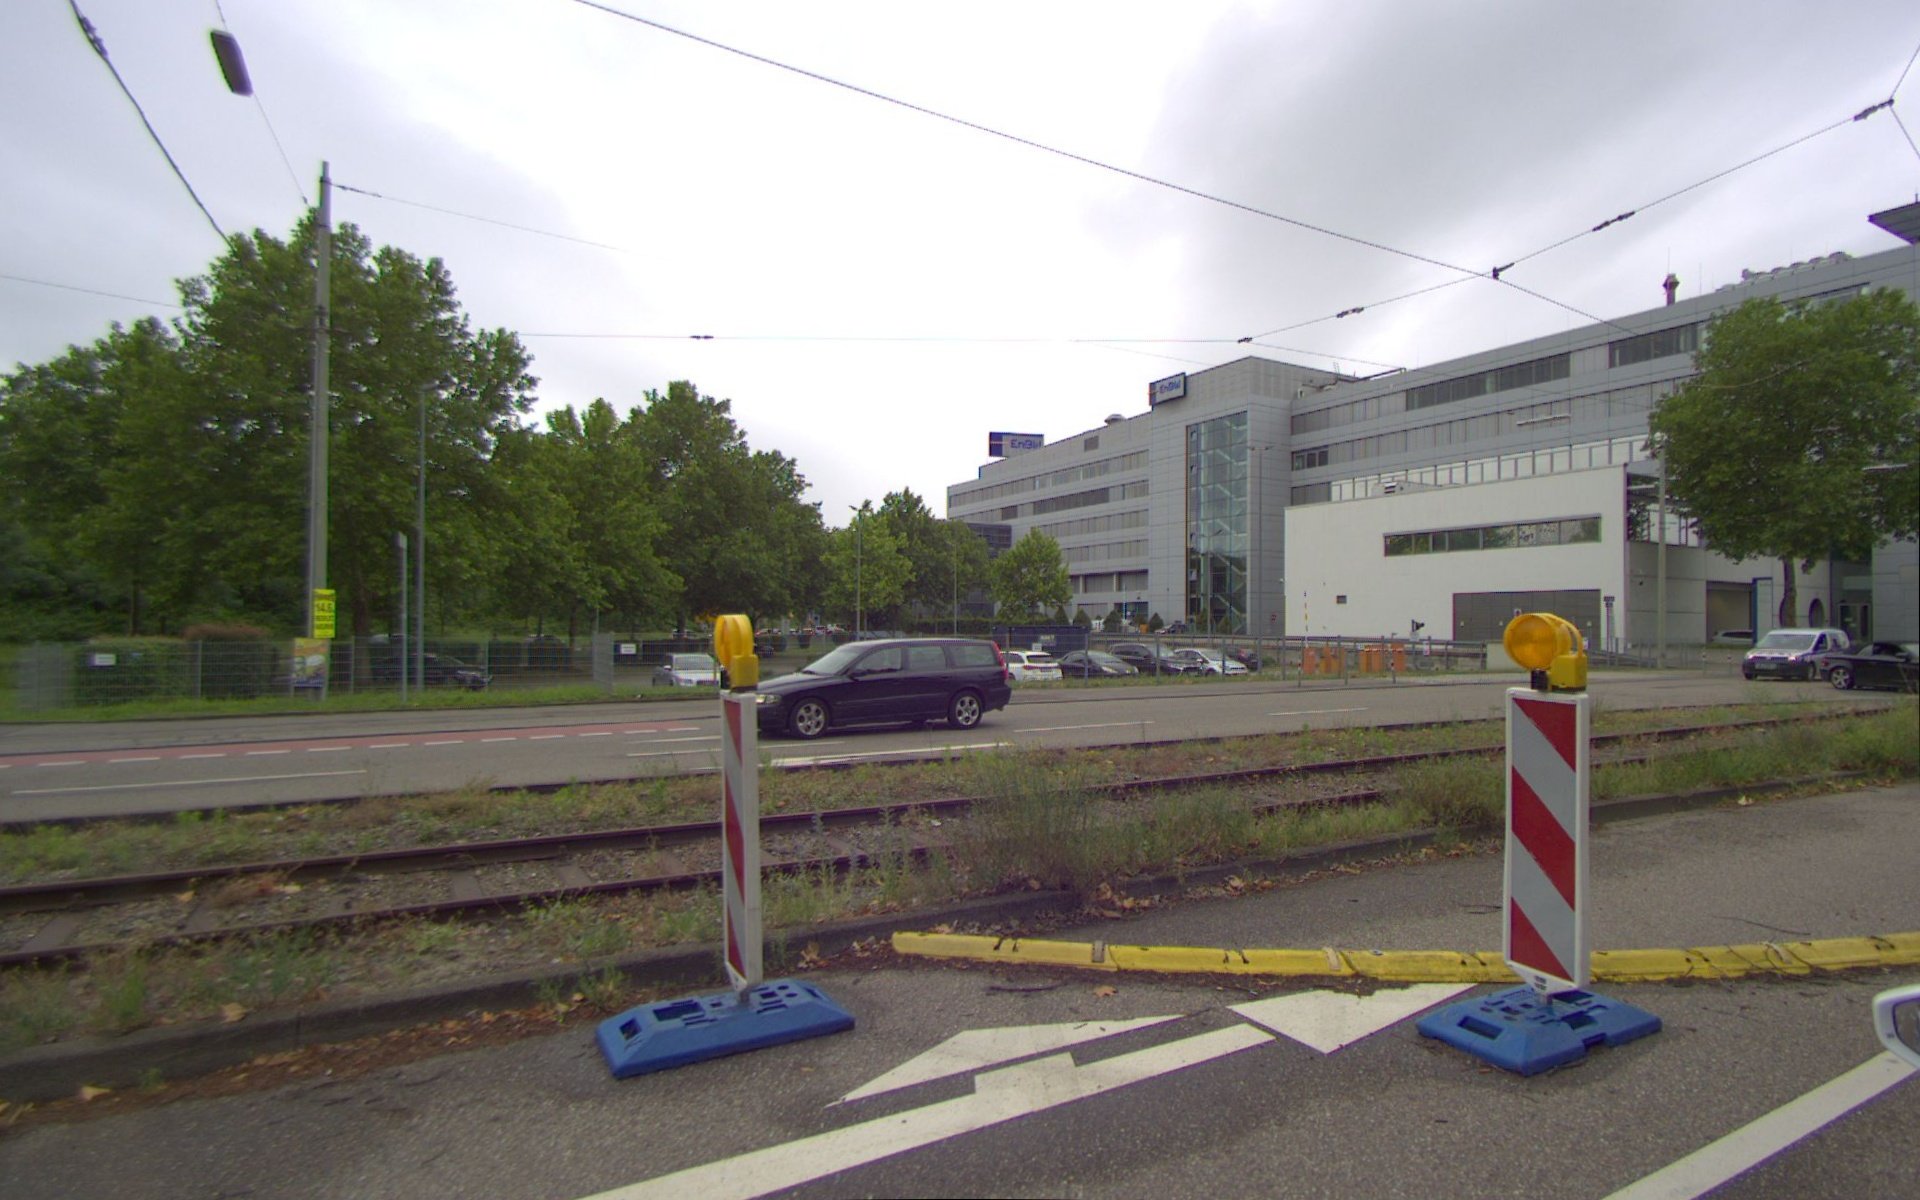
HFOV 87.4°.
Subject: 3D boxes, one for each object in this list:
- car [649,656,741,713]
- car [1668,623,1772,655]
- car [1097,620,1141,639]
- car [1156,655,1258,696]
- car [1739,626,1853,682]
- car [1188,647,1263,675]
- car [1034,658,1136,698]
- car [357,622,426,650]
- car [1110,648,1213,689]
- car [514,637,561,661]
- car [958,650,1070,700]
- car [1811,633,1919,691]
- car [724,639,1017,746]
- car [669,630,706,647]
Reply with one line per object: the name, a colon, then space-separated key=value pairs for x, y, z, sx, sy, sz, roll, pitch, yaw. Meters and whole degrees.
car: x=-8.273 y=2.549 z=31.084 sx=1.889 sy=1.552 sz=4.195 roll=1 pitch=-2 yaw=-28
car: x=44.483 y=2.260 z=58.900 sx=1.805 sy=1.692 sz=4.486 roll=2 pitch=0 yaw=-32
car: x=17.537 y=3.232 z=110.804 sx=4.594 sy=2.040 sz=1.985 roll=1 pitch=-2 yaw=-29
car: x=10.239 y=3.096 z=41.816 sx=1.892 sy=1.505 sz=3.966 roll=1 pitch=-2 yaw=-32
car: x=28.580 y=1.826 z=34.306 sx=4.380 sy=1.806 sz=1.809 roll=2 pitch=-2 yaw=-34
car: x=15.092 y=3.433 z=57.327 sx=1.892 sy=1.505 sz=3.966 roll=1 pitch=-2 yaw=-32
car: x=4.785 y=2.980 z=38.893 sx=1.892 sy=1.332 sz=3.966 roll=1 pitch=-2 yaw=-32
car: x=-33.435 y=2.102 z=59.172 sx=1.738 sy=1.548 sz=3.671 roll=1 pitch=0 yaw=4
car: x=8.020 y=2.708 z=40.347 sx=1.892 sy=1.505 sz=3.966 roll=1 pitch=-2 yaw=-32
car: x=-31.713 y=3.666 z=75.453 sx=1.742 sy=1.674 sz=3.671 roll=1 pitch=0 yaw=5
car: x=1.904 y=2.687 z=36.970 sx=1.892 sy=1.655 sz=4.503 roll=1 pitch=-2 yaw=-32
car: x=25.247 y=1.650 z=26.504 sx=1.791 sy=1.494 sz=4.127 roll=2 pitch=-3 yaw=-7
car: x=-1.362 y=1.385 z=16.113 sx=4.380 sy=1.492 sz=1.809 roll=2 pitch=-2 yaw=-34
car: x=-28.702 y=4.049 z=105.792 sx=1.928 sy=1.548 sz=5.013 roll=1 pitch=0 yaw=8
